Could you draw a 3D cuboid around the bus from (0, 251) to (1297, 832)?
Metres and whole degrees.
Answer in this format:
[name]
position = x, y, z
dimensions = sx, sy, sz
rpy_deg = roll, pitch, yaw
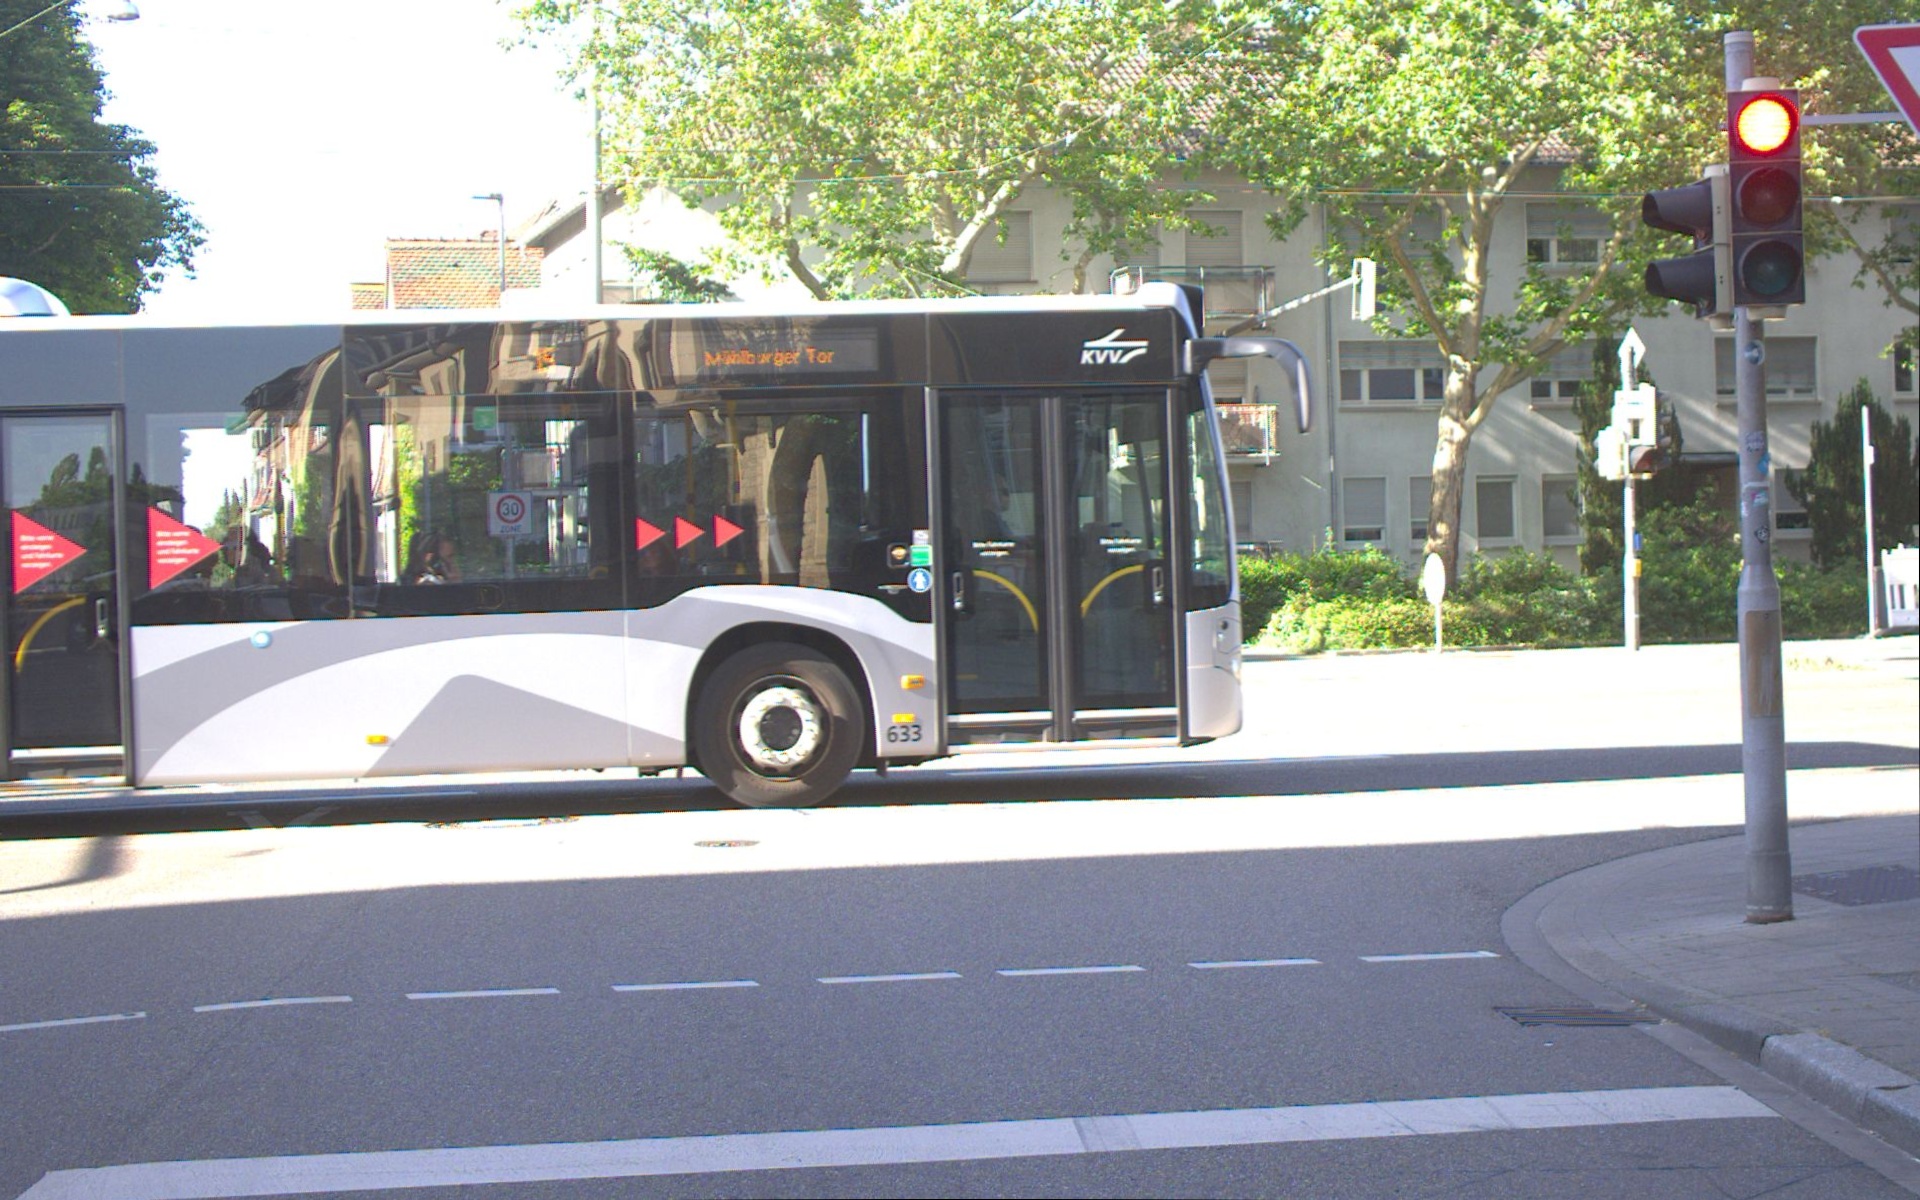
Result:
[bus]
position = -3.070, -0.357, 20.151
dimensions = 9.618, 3.086, 2.746
rpy_deg = -1, 1, -8
